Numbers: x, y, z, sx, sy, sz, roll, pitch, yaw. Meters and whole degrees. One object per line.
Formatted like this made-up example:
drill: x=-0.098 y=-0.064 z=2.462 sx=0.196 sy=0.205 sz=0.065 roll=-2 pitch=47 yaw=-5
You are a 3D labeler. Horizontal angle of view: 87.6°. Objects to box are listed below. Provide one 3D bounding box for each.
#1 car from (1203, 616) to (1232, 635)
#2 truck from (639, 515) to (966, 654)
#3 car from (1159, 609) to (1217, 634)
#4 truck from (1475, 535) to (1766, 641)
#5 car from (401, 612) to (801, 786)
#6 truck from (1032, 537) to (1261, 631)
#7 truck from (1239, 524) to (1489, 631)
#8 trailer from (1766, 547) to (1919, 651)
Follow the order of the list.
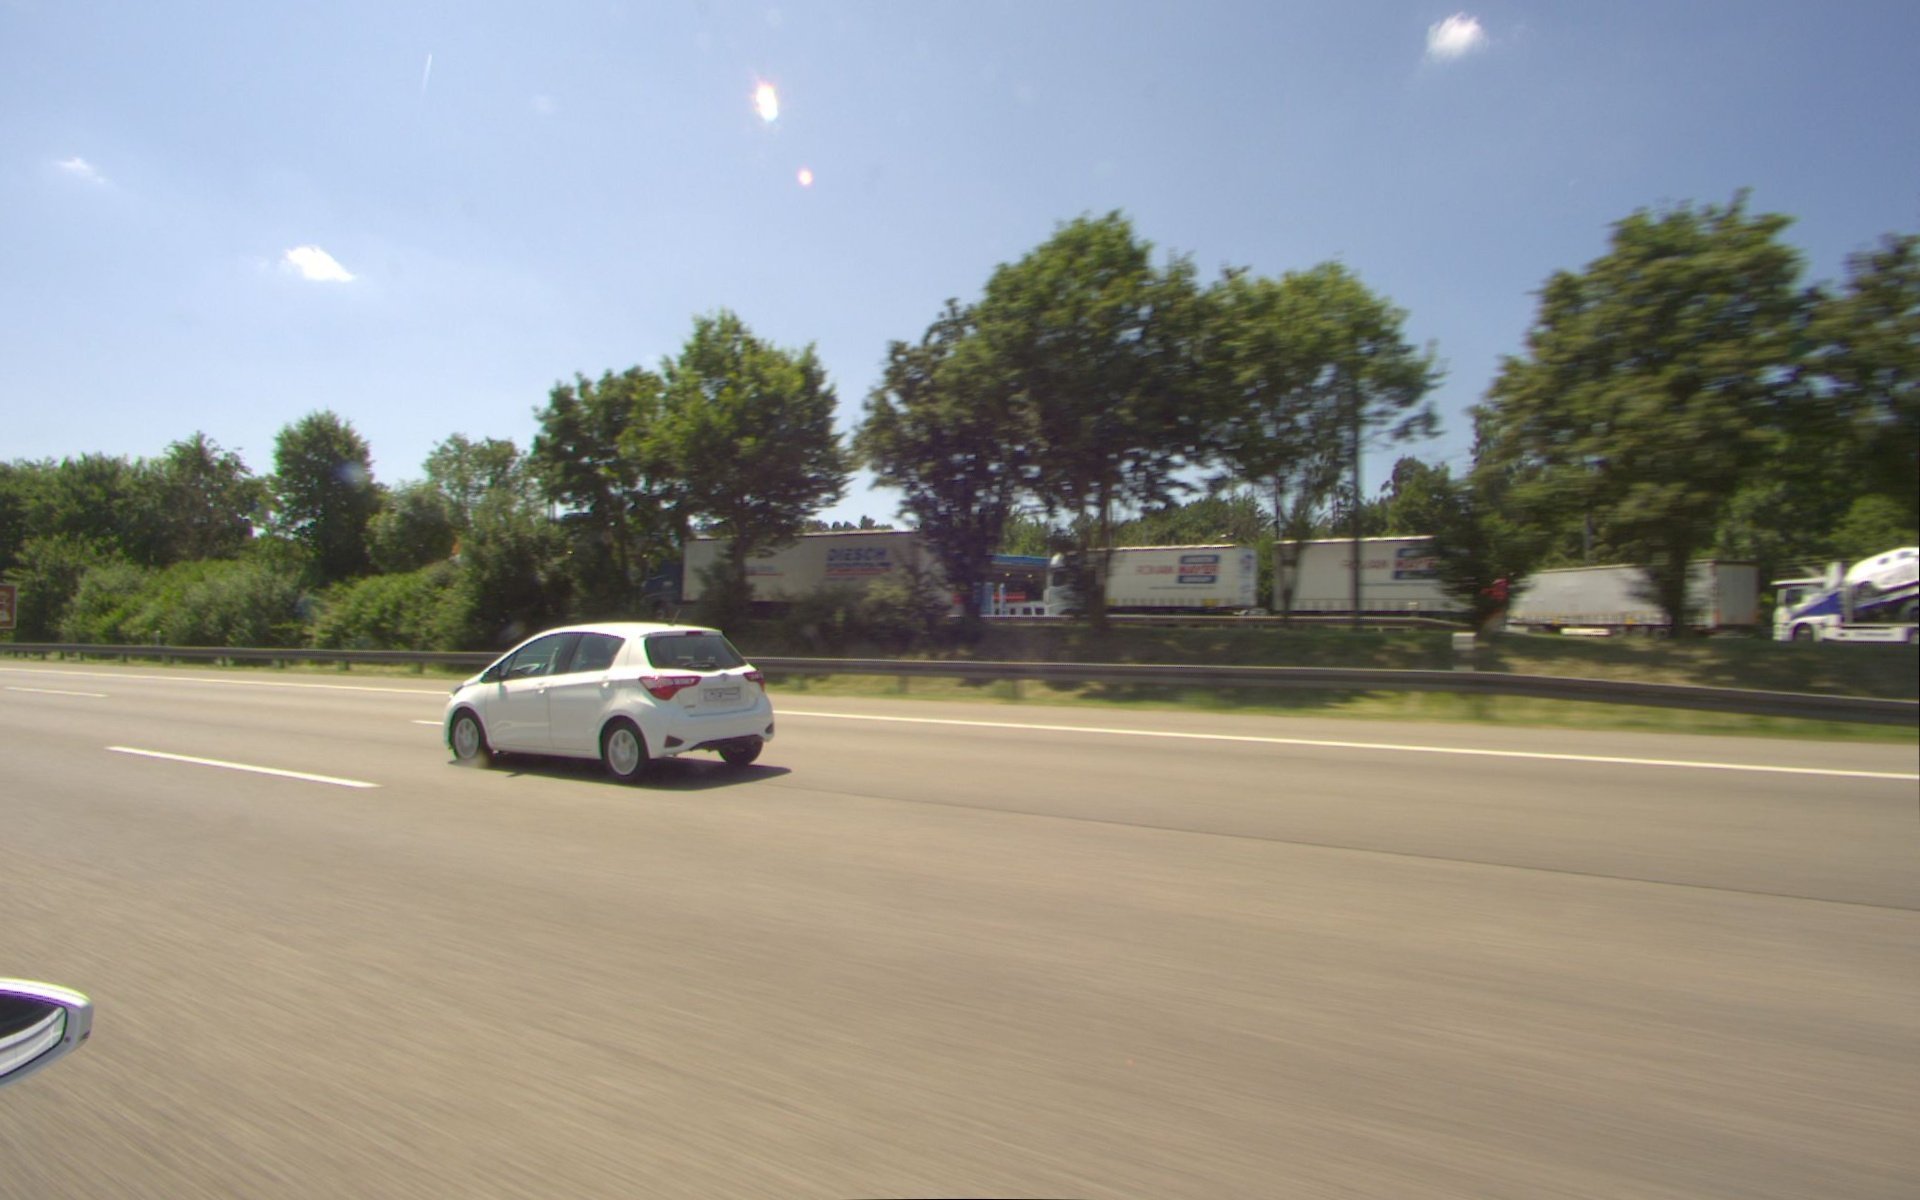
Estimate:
car: x=22.592 y=2.220 z=87.909 sx=1.990 sy=1.609 sz=3.536 roll=0 pitch=-2 yaw=8
truck: x=-7.484 y=-0.339 z=44.745 sx=16.154 sy=5.387 sz=3.514 roll=-2 pitch=-2 yaw=32
car: x=16.829 y=1.605 z=73.930 sx=3.782 sy=1.797 sz=1.734 roll=-2 pitch=-2 yaw=33
truck: x=36.104 y=-0.264 z=56.420 sx=2.910 sy=5.050 sz=16.348 roll=0 pitch=-2 yaw=-12
car: x=-3.966 y=0.939 z=10.825 sx=4.420 sy=1.538 sz=1.747 roll=-1 pitch=-2 yaw=32
truck: x=8.503 y=-0.572 z=46.739 sx=10.247 sy=3.904 sz=2.927 roll=-2 pitch=-2 yaw=34
truck: x=16.482 y=-0.718 z=41.282 sx=9.137 sy=3.926 sz=2.958 roll=-2 pitch=-2 yaw=34
trailer: x=38.604 y=-0.011 z=40.770 sx=2.273 sy=4.088 sz=9.583 roll=0 pitch=-1 yaw=-14
